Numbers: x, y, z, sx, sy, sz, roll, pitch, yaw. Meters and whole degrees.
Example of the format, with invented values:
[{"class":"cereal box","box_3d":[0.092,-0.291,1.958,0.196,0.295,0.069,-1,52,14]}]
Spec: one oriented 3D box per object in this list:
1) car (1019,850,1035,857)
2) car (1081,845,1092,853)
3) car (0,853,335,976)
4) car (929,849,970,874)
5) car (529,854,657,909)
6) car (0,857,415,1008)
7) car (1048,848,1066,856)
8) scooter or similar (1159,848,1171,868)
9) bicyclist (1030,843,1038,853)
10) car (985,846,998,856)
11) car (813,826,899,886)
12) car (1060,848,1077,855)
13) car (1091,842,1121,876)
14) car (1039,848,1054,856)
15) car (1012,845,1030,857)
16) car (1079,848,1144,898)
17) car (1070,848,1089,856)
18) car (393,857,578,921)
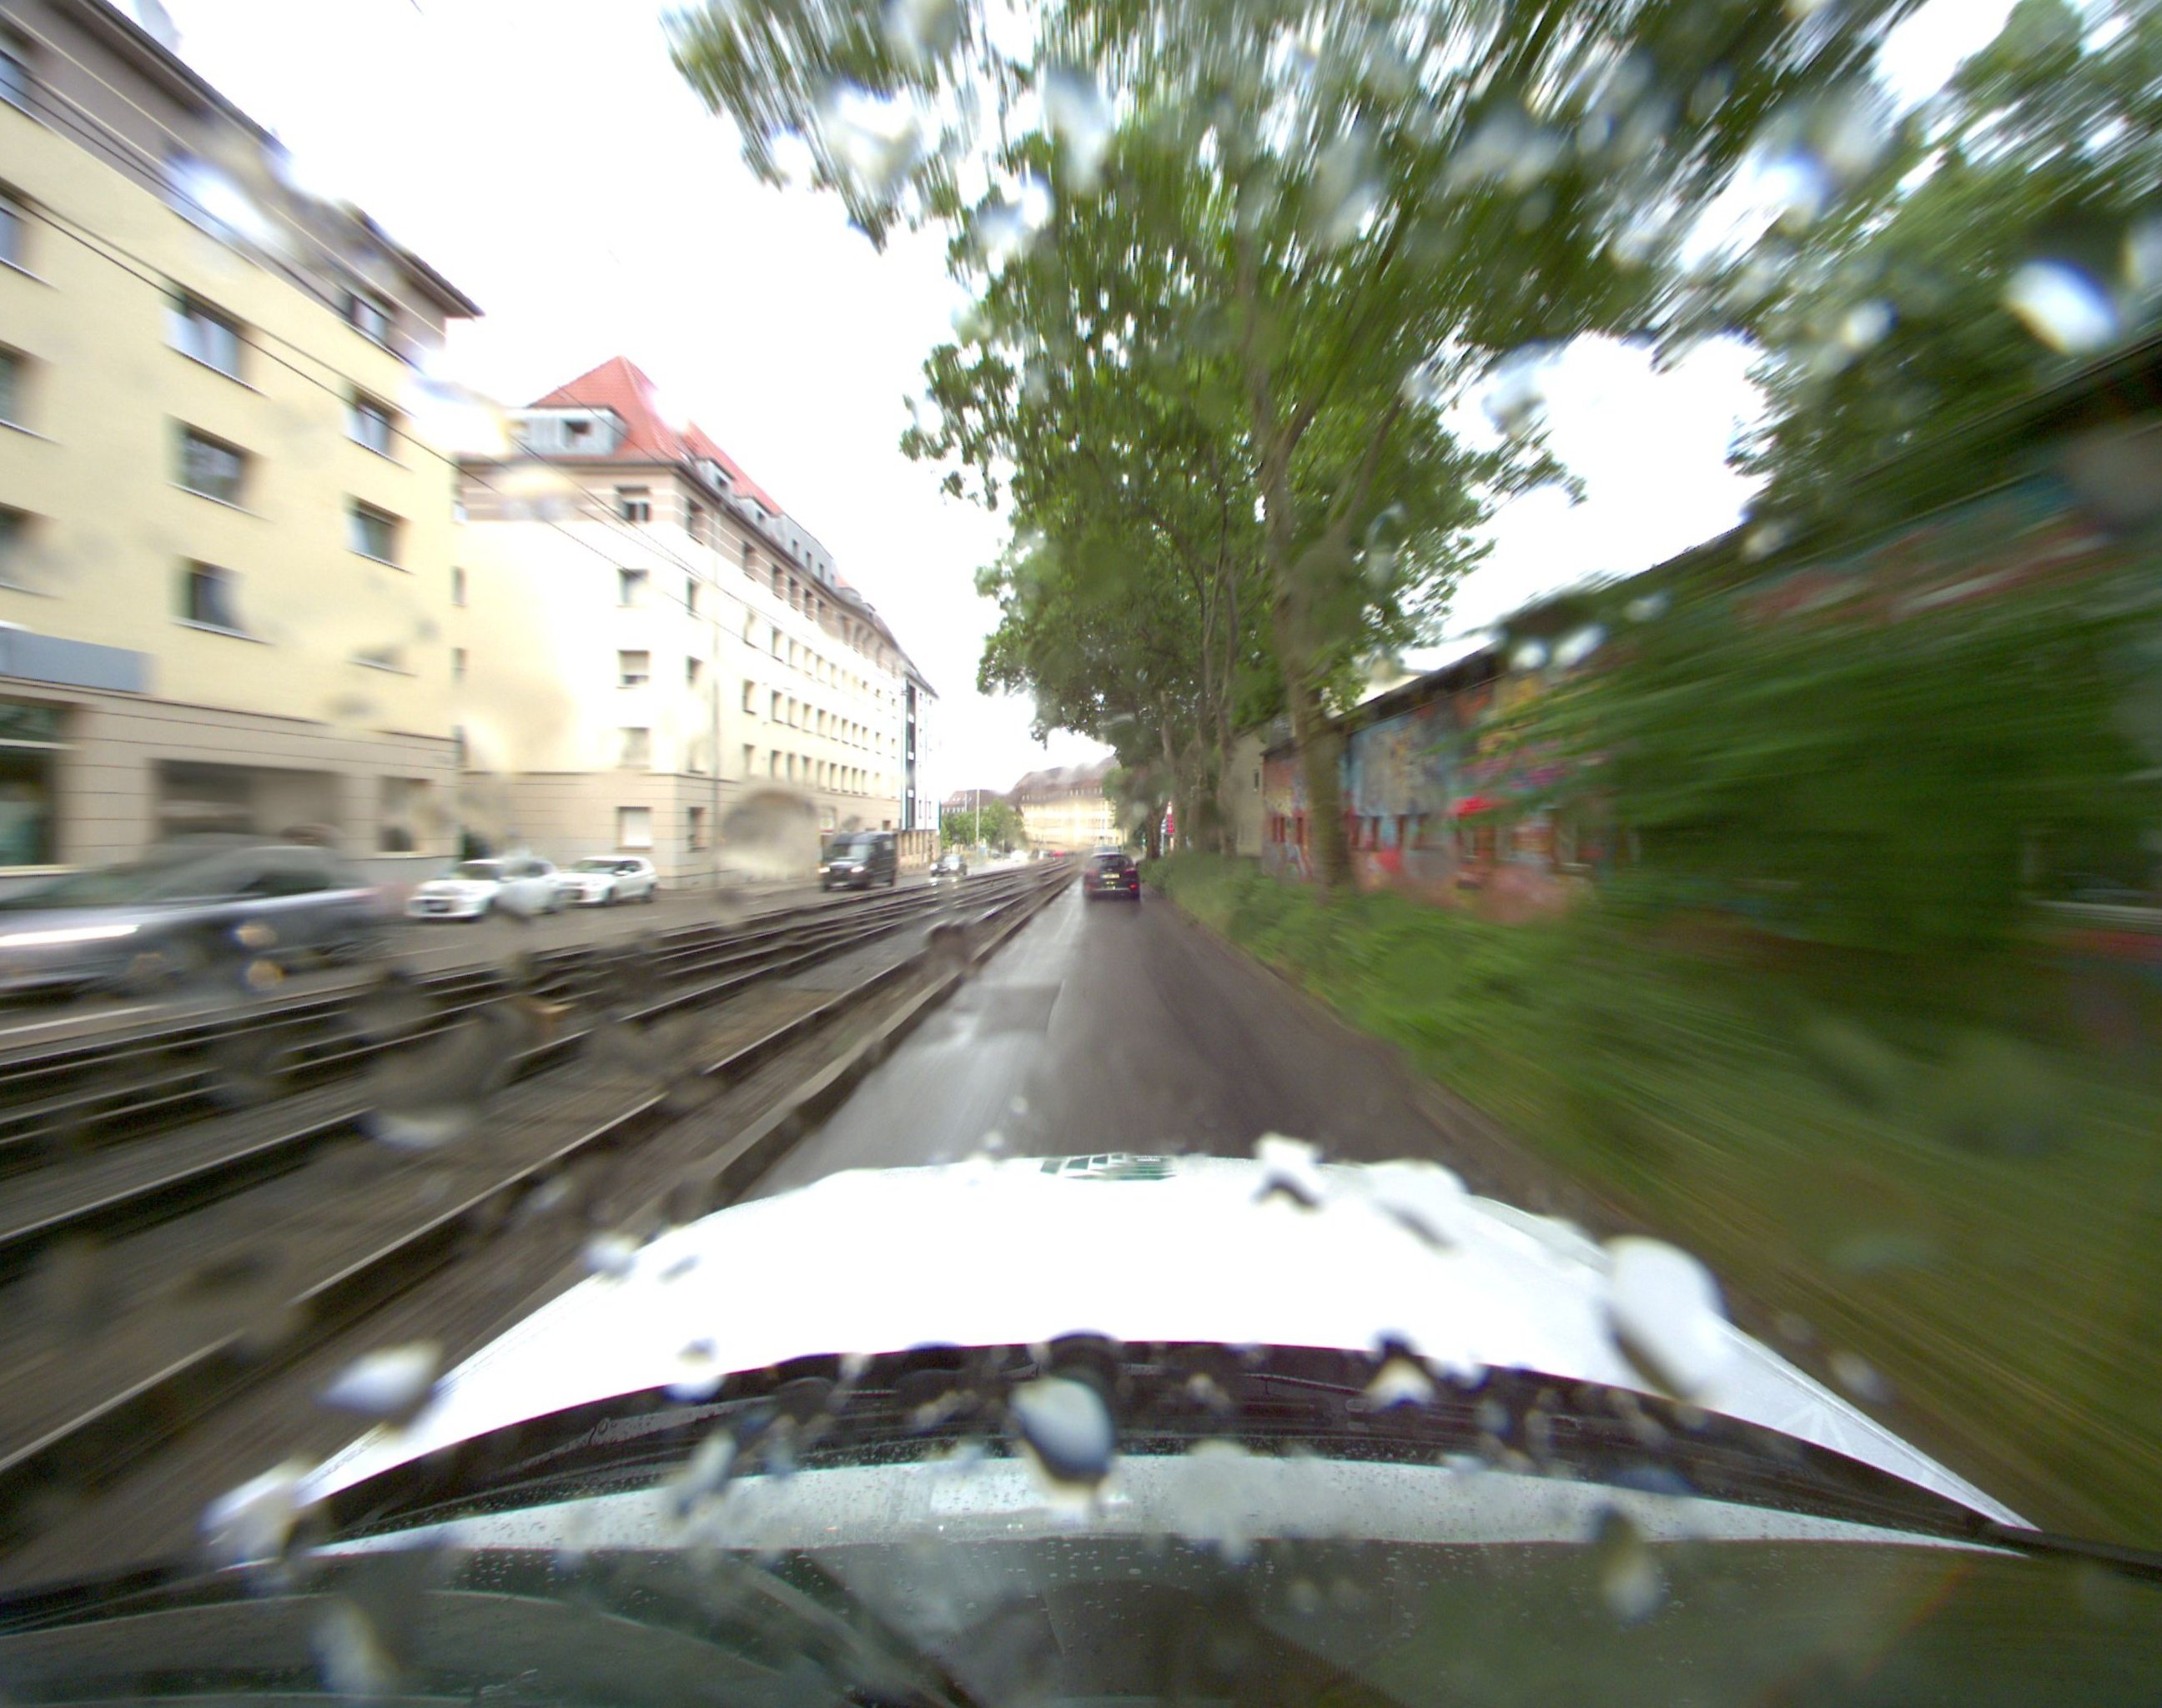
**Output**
[{"class":"car","box_3d":[-12.386,-0.205,187.421,2.007,1.542,3.961,0,0,-31]},{"class":"car","box_3d":[1.056,-0.956,161.882,1.655,1.476,3.635,0,0,-7]},{"class":"car","box_3d":[-14.651,0.770,12.659,1.807,1.499,4.584,1,1,1]},{"class":"car","box_3d":[-8.852,0.468,55.167,1.873,1.486,4.857,0,2,2]},{"class":"car","box_3d":[-14.600,0.776,24.591,1.703,1.450,3.540,2,0,-1]},{"class":"car","box_3d":[-11.171,0.803,10.347,1.705,1.462,4.284,-1,1,3]},{"class":"car","box_3d":[-5.129,-0.412,175.027,2.008,1.542,3.958,0,0,-34]},{"class":"scooter or similar","box_3d":[5.428,0.283,52.545,0.370,1.234,1.378,-1,-2,24]},{"class":"bicyclist","box_3d":[-6.672,-0.876,115.771,0.777,1.313,0.782,-2,1,-35]},{"class":"car","box_3d":[-14.609,-0.497,133.404,1.992,1.542,3.989,0,0,-8]},{"class":"car","box_3d":[-9.919,0.092,36.434,1.986,2.451,6.001,0,0,2]},{"class":"car","box_3d":[-2.664,-0.519,170.588,1.592,1.542,3.959,0,0,-33]},{"class":"car","box_3d":[1.538,0.280,49.537,1.733,2.013,3.906,0,0,2]},{"class":"car","box_3d":[-7.611,-0.414,179.769,2.004,1.542,3.967,-2,1,-25]},{"class":"car","box_3d":[-8.001,-0.414,108.747,1.792,1.482,4.844,0,0,3]},{"class":"car","box_3d":[0.946,0.558,26.487,1.927,1.453,4.318,1,0,1]},{"class":"car","box_3d":[-0.289,-0.467,165.602,2.007,1.542,3.959,0,0,-33]},{"class":"car","box_3d":[-14.632,0.786,20.318,1.698,1.396,3.935,0,0,0]}]
